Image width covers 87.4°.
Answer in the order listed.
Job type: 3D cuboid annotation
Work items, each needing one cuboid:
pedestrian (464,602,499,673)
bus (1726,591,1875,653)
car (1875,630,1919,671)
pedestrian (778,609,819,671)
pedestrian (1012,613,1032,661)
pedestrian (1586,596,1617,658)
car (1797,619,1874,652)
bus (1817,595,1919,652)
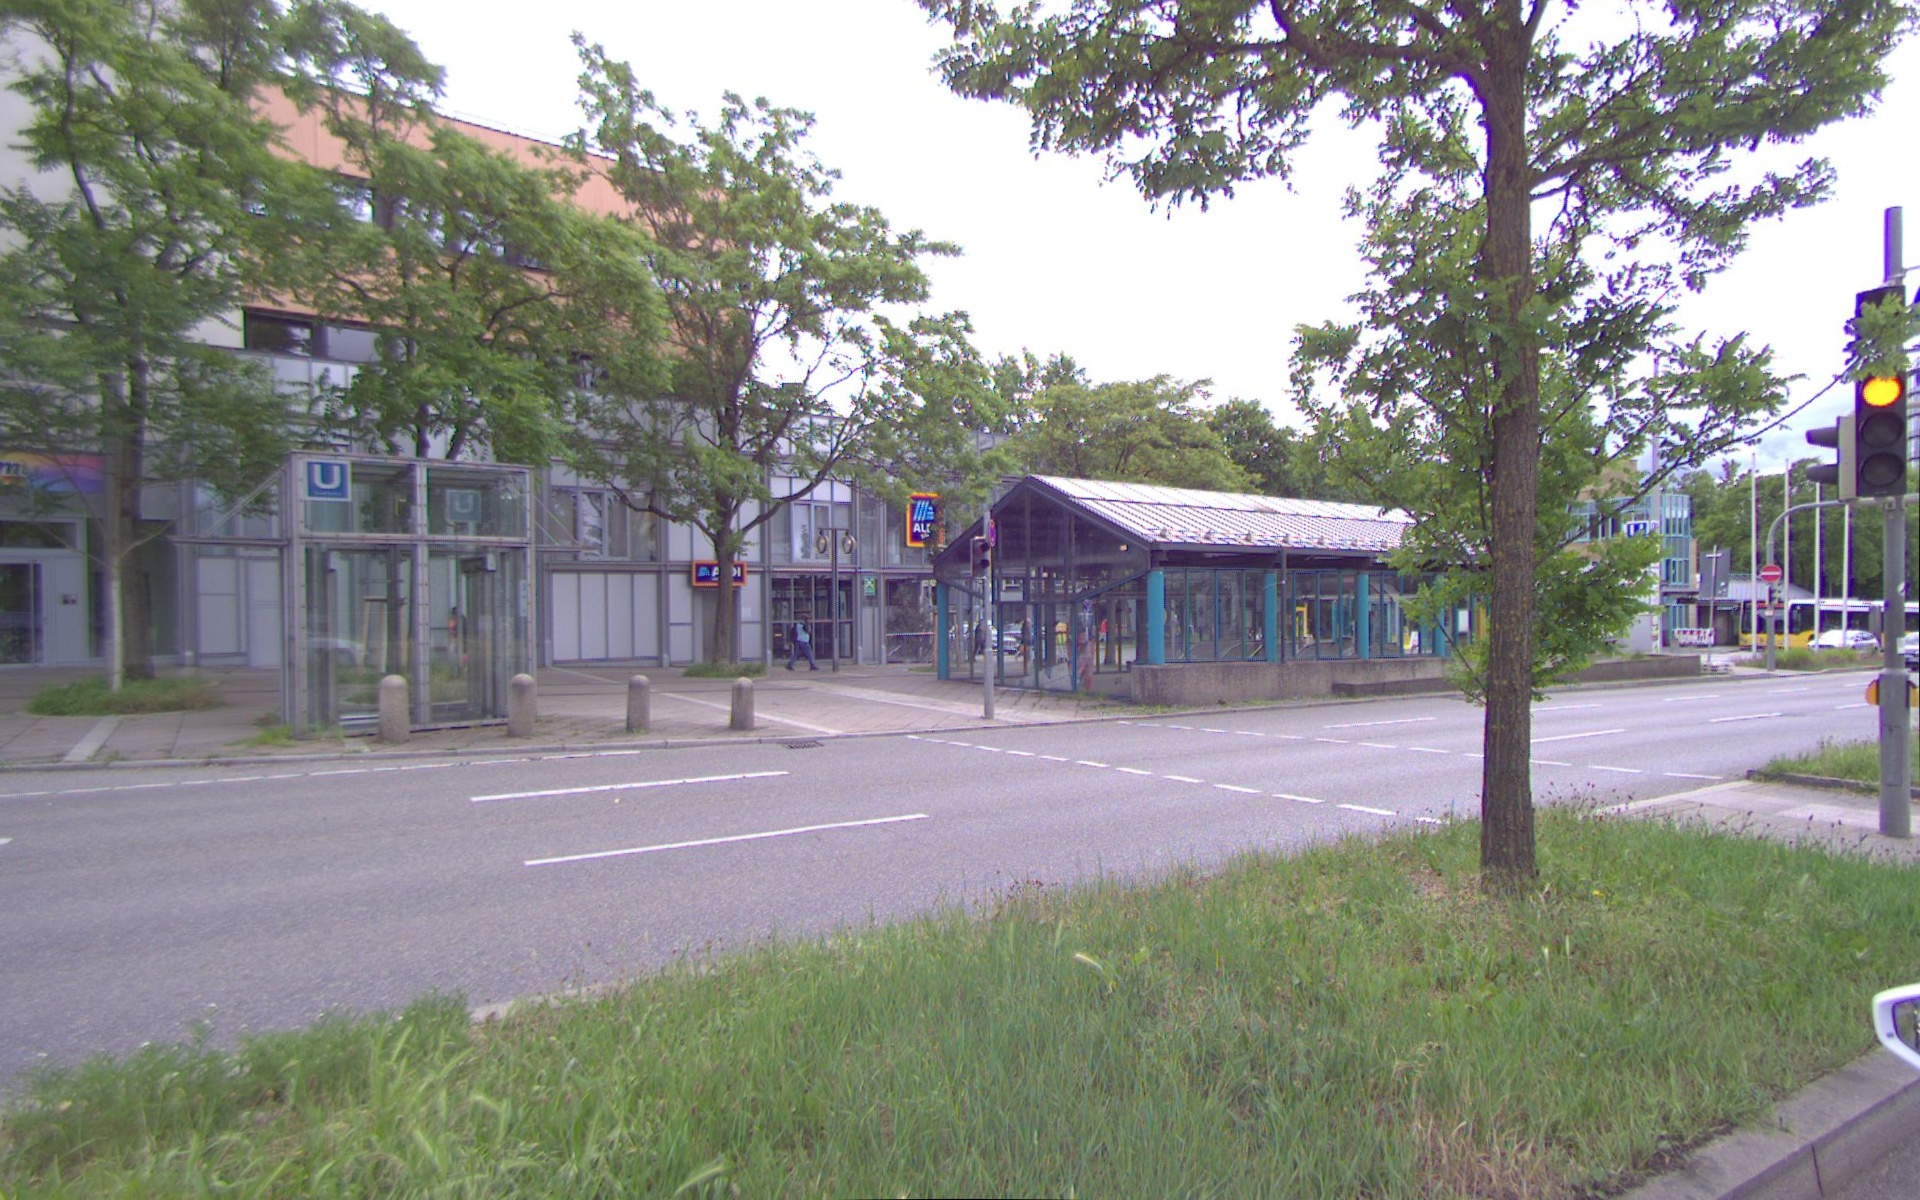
[{"bbox_3d":[-12.003,0.928,25.190,0.674,1.750,0.560,1,-1,-39],"label":"pedestrian"},{"bbox_3d":[50.180,1.363,59.889,10.592,3.476,2.822,1,-1,-26],"label":"bus"},{"bbox_3d":[37.821,1.965,39.324,3.955,1.505,1.983,1,-1,-32],"label":"car"},{"bbox_3d":[-4.654,1.144,28.957,0.879,1.739,0.764,1,2,-39],"label":"pedestrian"},{"bbox_3d":[2.308,1.374,37.412,0.693,1.739,0.772,2,1,1],"label":"pedestrian"},{"bbox_3d":[21.571,0.907,33.771,0.639,2.040,0.677,1,-1,-34],"label":"pedestrian"},{"bbox_3d":[45.496,1.842,52.192,3.951,1.684,1.798,1,-1,-29],"label":"car"},{"bbox_3d":[59.474,1.564,64.538,10.592,3.476,2.822,1,-1,-26],"label":"bus"}]
